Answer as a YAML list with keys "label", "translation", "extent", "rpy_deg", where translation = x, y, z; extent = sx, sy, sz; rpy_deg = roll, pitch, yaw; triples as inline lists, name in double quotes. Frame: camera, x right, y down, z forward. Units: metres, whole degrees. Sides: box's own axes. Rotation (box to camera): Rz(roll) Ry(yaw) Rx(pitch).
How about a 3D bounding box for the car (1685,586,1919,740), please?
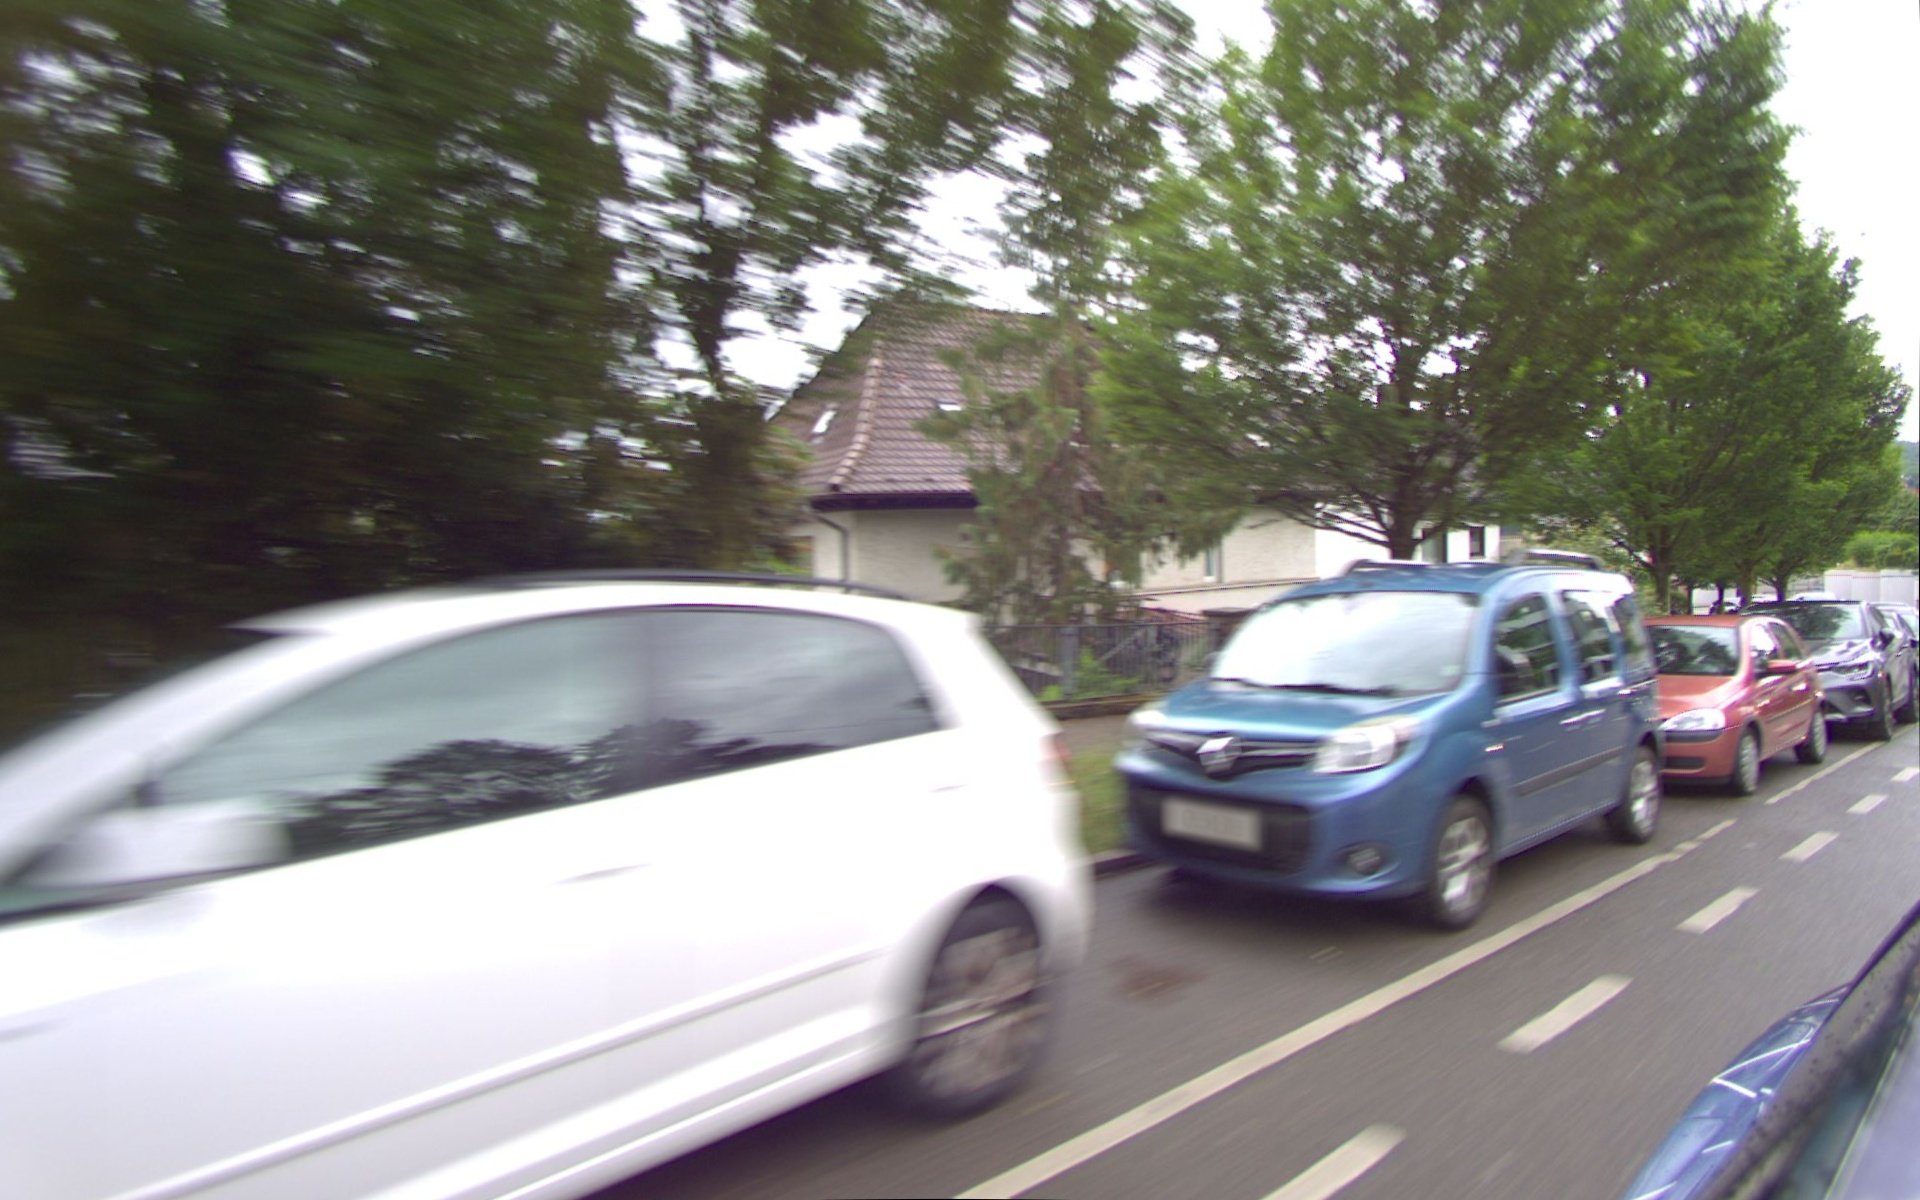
- label: "car"
  translation: [10.534, 0.679, 12.393]
  extent: [4.091, 1.576, 1.716]
  rpy_deg: [0, -3, -41]

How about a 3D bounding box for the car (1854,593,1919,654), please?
- label: "car"
  translation: [25.793, 0.621, 27.891]
  extent: [1.625, 1.583, 2.978]
  rpy_deg: [-3, -1, 41]

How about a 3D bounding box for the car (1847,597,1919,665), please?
- label: "car"
  translation: [23.083, 0.726, 25.006]
  extent: [1.652, 1.539, 3.940]
  rpy_deg: [-3, -2, 42]

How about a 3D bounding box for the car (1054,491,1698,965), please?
- label: "car"
  translation: [2.738, 0.525, 6.118]
  extent: [4.346, 1.876, 1.781]
  rpy_deg: [0, -2, -40]

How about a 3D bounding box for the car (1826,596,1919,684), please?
- label: "car"
  translation: [18.949, 0.736, 20.418]
  extent: [4.651, 1.573, 1.776]
  rpy_deg: [-1, -2, -44]

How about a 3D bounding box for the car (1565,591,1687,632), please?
- label: "car"
  translation: [29.742, 0.521, 45.239]
  extent: [4.296, 1.483, 1.908]
  rpy_deg: [-5, 0, 41]

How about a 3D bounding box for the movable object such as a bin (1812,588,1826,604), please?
- label: "movable object such as a bin"
  translation: [63.332, -0.308, 74.609]
  extent: [0.589, 1.161, 0.529]
  rpy_deg: [-3, 0, -30]

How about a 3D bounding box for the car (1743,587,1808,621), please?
- label: "car"
  translation: [44.062, 0.184, 54.769]
  extent: [2.044, 1.677, 5.177]
  rpy_deg: [-2, 0, 32]

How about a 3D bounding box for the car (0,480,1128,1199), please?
- label: "car"
  translation: [-1.560, 0.645, 2.677]
  extent: [4.152, 1.630, 1.785]
  rpy_deg: [0, -1, -43]

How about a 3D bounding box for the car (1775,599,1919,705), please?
- label: "car"
  translation: [14.375, 0.749, 16.040]
  extent: [4.216, 1.442, 1.644]
  rpy_deg: [-1, -2, -43]

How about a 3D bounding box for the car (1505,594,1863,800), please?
- label: "car"
  translation: [6.781, 0.726, 9.334]
  extent: [3.947, 1.501, 1.652]
  rpy_deg: [0, -2, -39]

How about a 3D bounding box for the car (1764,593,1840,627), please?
- label: "car"
  translation: [41.286, 0.459, 49.738]
  extent: [1.851, 1.488, 5.004]
  rpy_deg: [-4, -2, 29]
